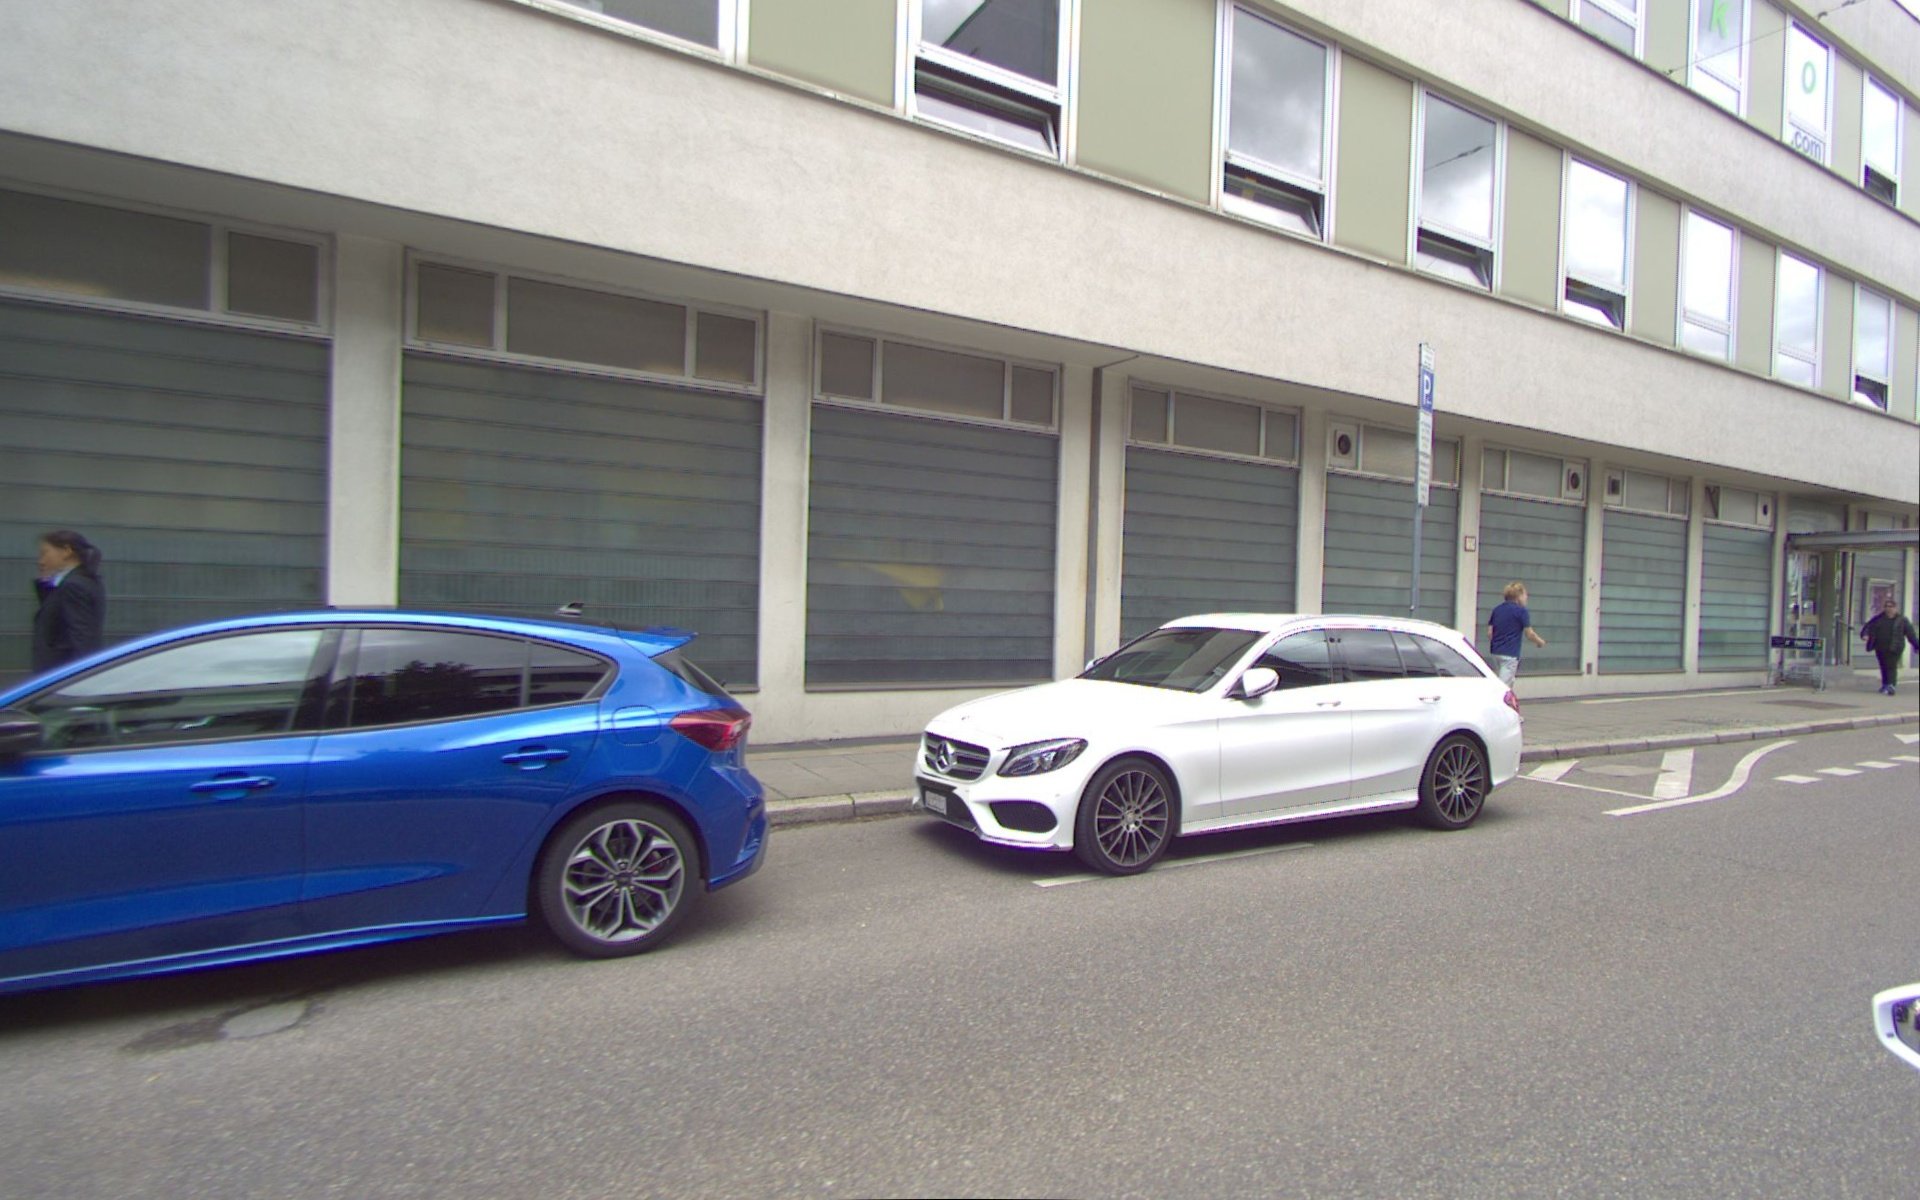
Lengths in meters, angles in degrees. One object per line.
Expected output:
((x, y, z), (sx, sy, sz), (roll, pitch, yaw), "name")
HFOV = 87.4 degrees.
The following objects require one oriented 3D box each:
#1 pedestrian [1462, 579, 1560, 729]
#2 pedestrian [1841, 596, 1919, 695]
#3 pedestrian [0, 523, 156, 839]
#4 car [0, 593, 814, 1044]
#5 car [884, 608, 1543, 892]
((6.699, 0.633, 12.215), (1.043, 1.741, 0.586), (1, 0, -32), "pedestrian")
((17.035, 0.821, 18.516), (1.020, 1.741, 0.857), (1, 2, -32), "pedestrian")
((-5.242, 0.447, 5.961), (0.583, 1.741, 0.646), (1, 0, 43), "pedestrian")
((-2.926, 0.724, 4.326), (4.209, 1.444, 1.808), (1, -1, -27), "car")
((1.864, 0.812, 6.945), (4.496, 1.453, 1.663), (1, -1, -28), "car")
